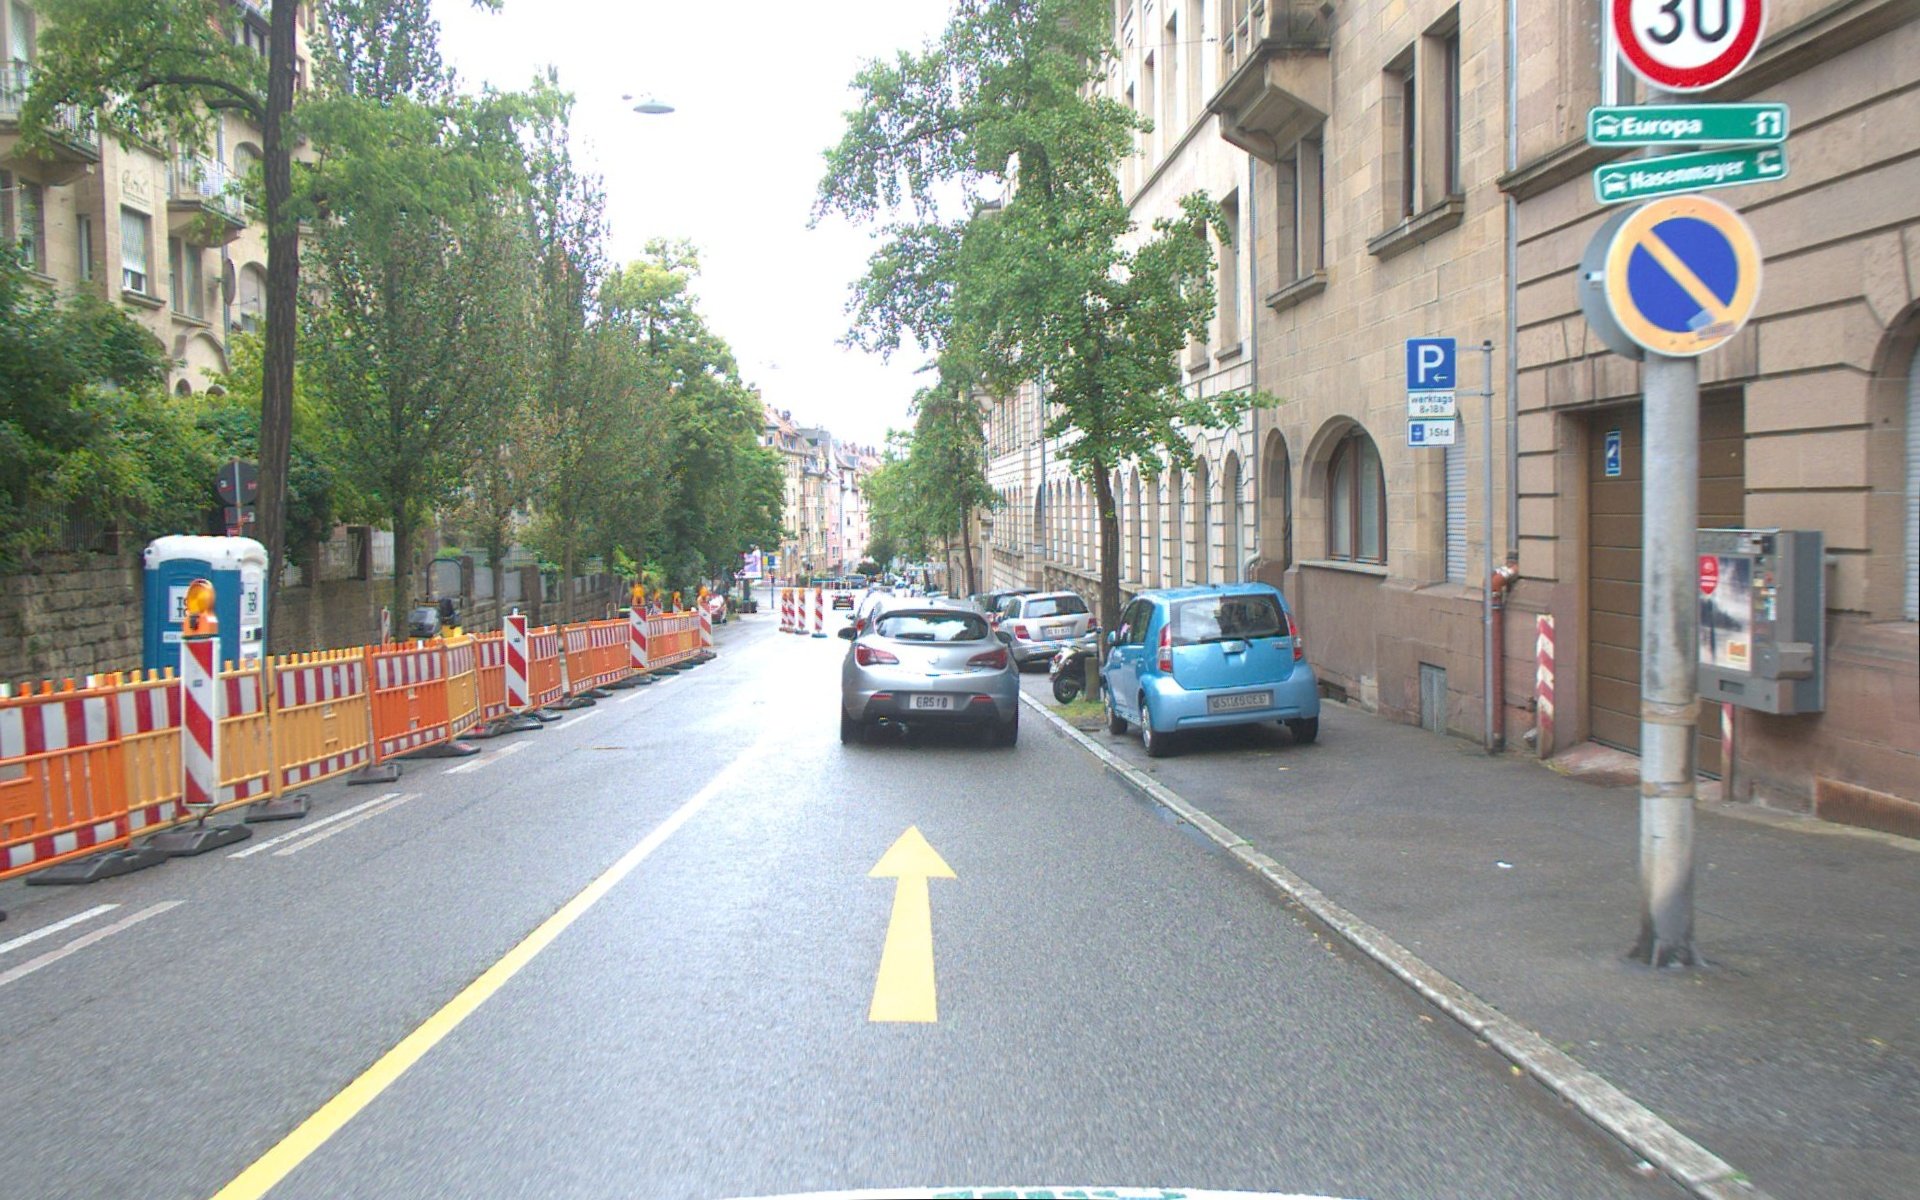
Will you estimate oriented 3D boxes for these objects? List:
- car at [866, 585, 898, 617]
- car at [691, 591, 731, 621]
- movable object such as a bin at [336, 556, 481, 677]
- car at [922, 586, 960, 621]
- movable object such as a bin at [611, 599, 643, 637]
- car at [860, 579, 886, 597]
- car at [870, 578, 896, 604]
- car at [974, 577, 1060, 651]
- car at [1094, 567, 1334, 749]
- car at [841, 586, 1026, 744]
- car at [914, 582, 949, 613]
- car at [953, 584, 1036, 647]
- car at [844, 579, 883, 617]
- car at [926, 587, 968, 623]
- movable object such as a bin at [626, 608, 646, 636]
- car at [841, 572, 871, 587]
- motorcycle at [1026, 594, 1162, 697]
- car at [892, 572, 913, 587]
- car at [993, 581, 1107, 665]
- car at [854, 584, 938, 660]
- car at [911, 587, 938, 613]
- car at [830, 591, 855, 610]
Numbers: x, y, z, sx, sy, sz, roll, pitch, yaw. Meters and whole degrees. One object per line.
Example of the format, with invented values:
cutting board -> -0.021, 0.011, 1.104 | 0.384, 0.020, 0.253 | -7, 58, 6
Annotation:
car -> -4.193, 0.031, 88.882 | 1.624, 1.569, 3.663 | -3, 0, -3
car -> -12.723, 0.282, 84.616 | 1.604, 1.464, 4.077 | -1, 1, -3
movable object such as a bin -> -11.301, 0.308, 34.062 | 1.952, 2.339, 2.816 | -1, 1, 0
car -> -0.895, 0.143, 76.282 | 1.604, 1.494, 3.856 | -1, 1, -3
movable object such as a bin -> -11.271, 0.615, 56.008 | 0.926, 1.235, 0.856 | 1, 1, -2
car -> -8.973, -1.249, 171.225 | 1.951, 1.713, 4.003 | 2, 0, 7
car -> -5.695, -0.662, 121.985 | 1.681, 1.813, 3.663 | -4, 1, -4
car -> 1.292, 0.294, 38.579 | 1.606, 1.546, 3.181 | -4, 1, -4
car -> 2.464, 0.511, 16.887 | 1.624, 1.569, 3.663 | -3, 0, -3
car -> -0.267, 0.607, 17.825 | 1.774, 1.475, 3.869 | 0, 1, -1
car -> -1.598, -0.140, 91.092 | 1.605, 1.630, 3.853 | -1, 1, -5
car -> 0.871, 0.364, 44.599 | 1.723, 1.486, 4.720 | -4, 1, -4
car -> -4.329, -0.099, 73.797 | 1.624, 1.569, 3.662 | -3, 0, -4
car -> -0.596, 0.182, 71.141 | 1.605, 1.454, 3.374 | -1, 1, -4
movable object such as a bin -> -11.160, 0.757, 56.968 | 0.591, 0.923, 0.623 | 1, 1, -2
car -> -13.827, -2.715, 219.218 | 3.908, 1.780, 1.999 | 2, 0, -4
motorcycle -> 1.862, 0.598, 22.761 | 1.921, 1.257, 0.648 | -4, 2, -40
car -> -7.173, -2.602, 207.827 | 1.951, 1.713, 4.003 | 2, 0, 7
car -> 1.721, 0.396, 33.093 | 1.662, 1.456, 4.419 | -4, 1, -4
car -> -1.431, 0.442, 36.486 | 1.737, 1.530, 3.867 | 0, 1, -3
car -> -2.273, -0.030, 105.830 | 1.604, 1.551, 3.856 | -1, 1, -3
car -> -9.724, 0.019, 137.170 | 1.955, 1.527, 3.995 | -1, 0, -5
